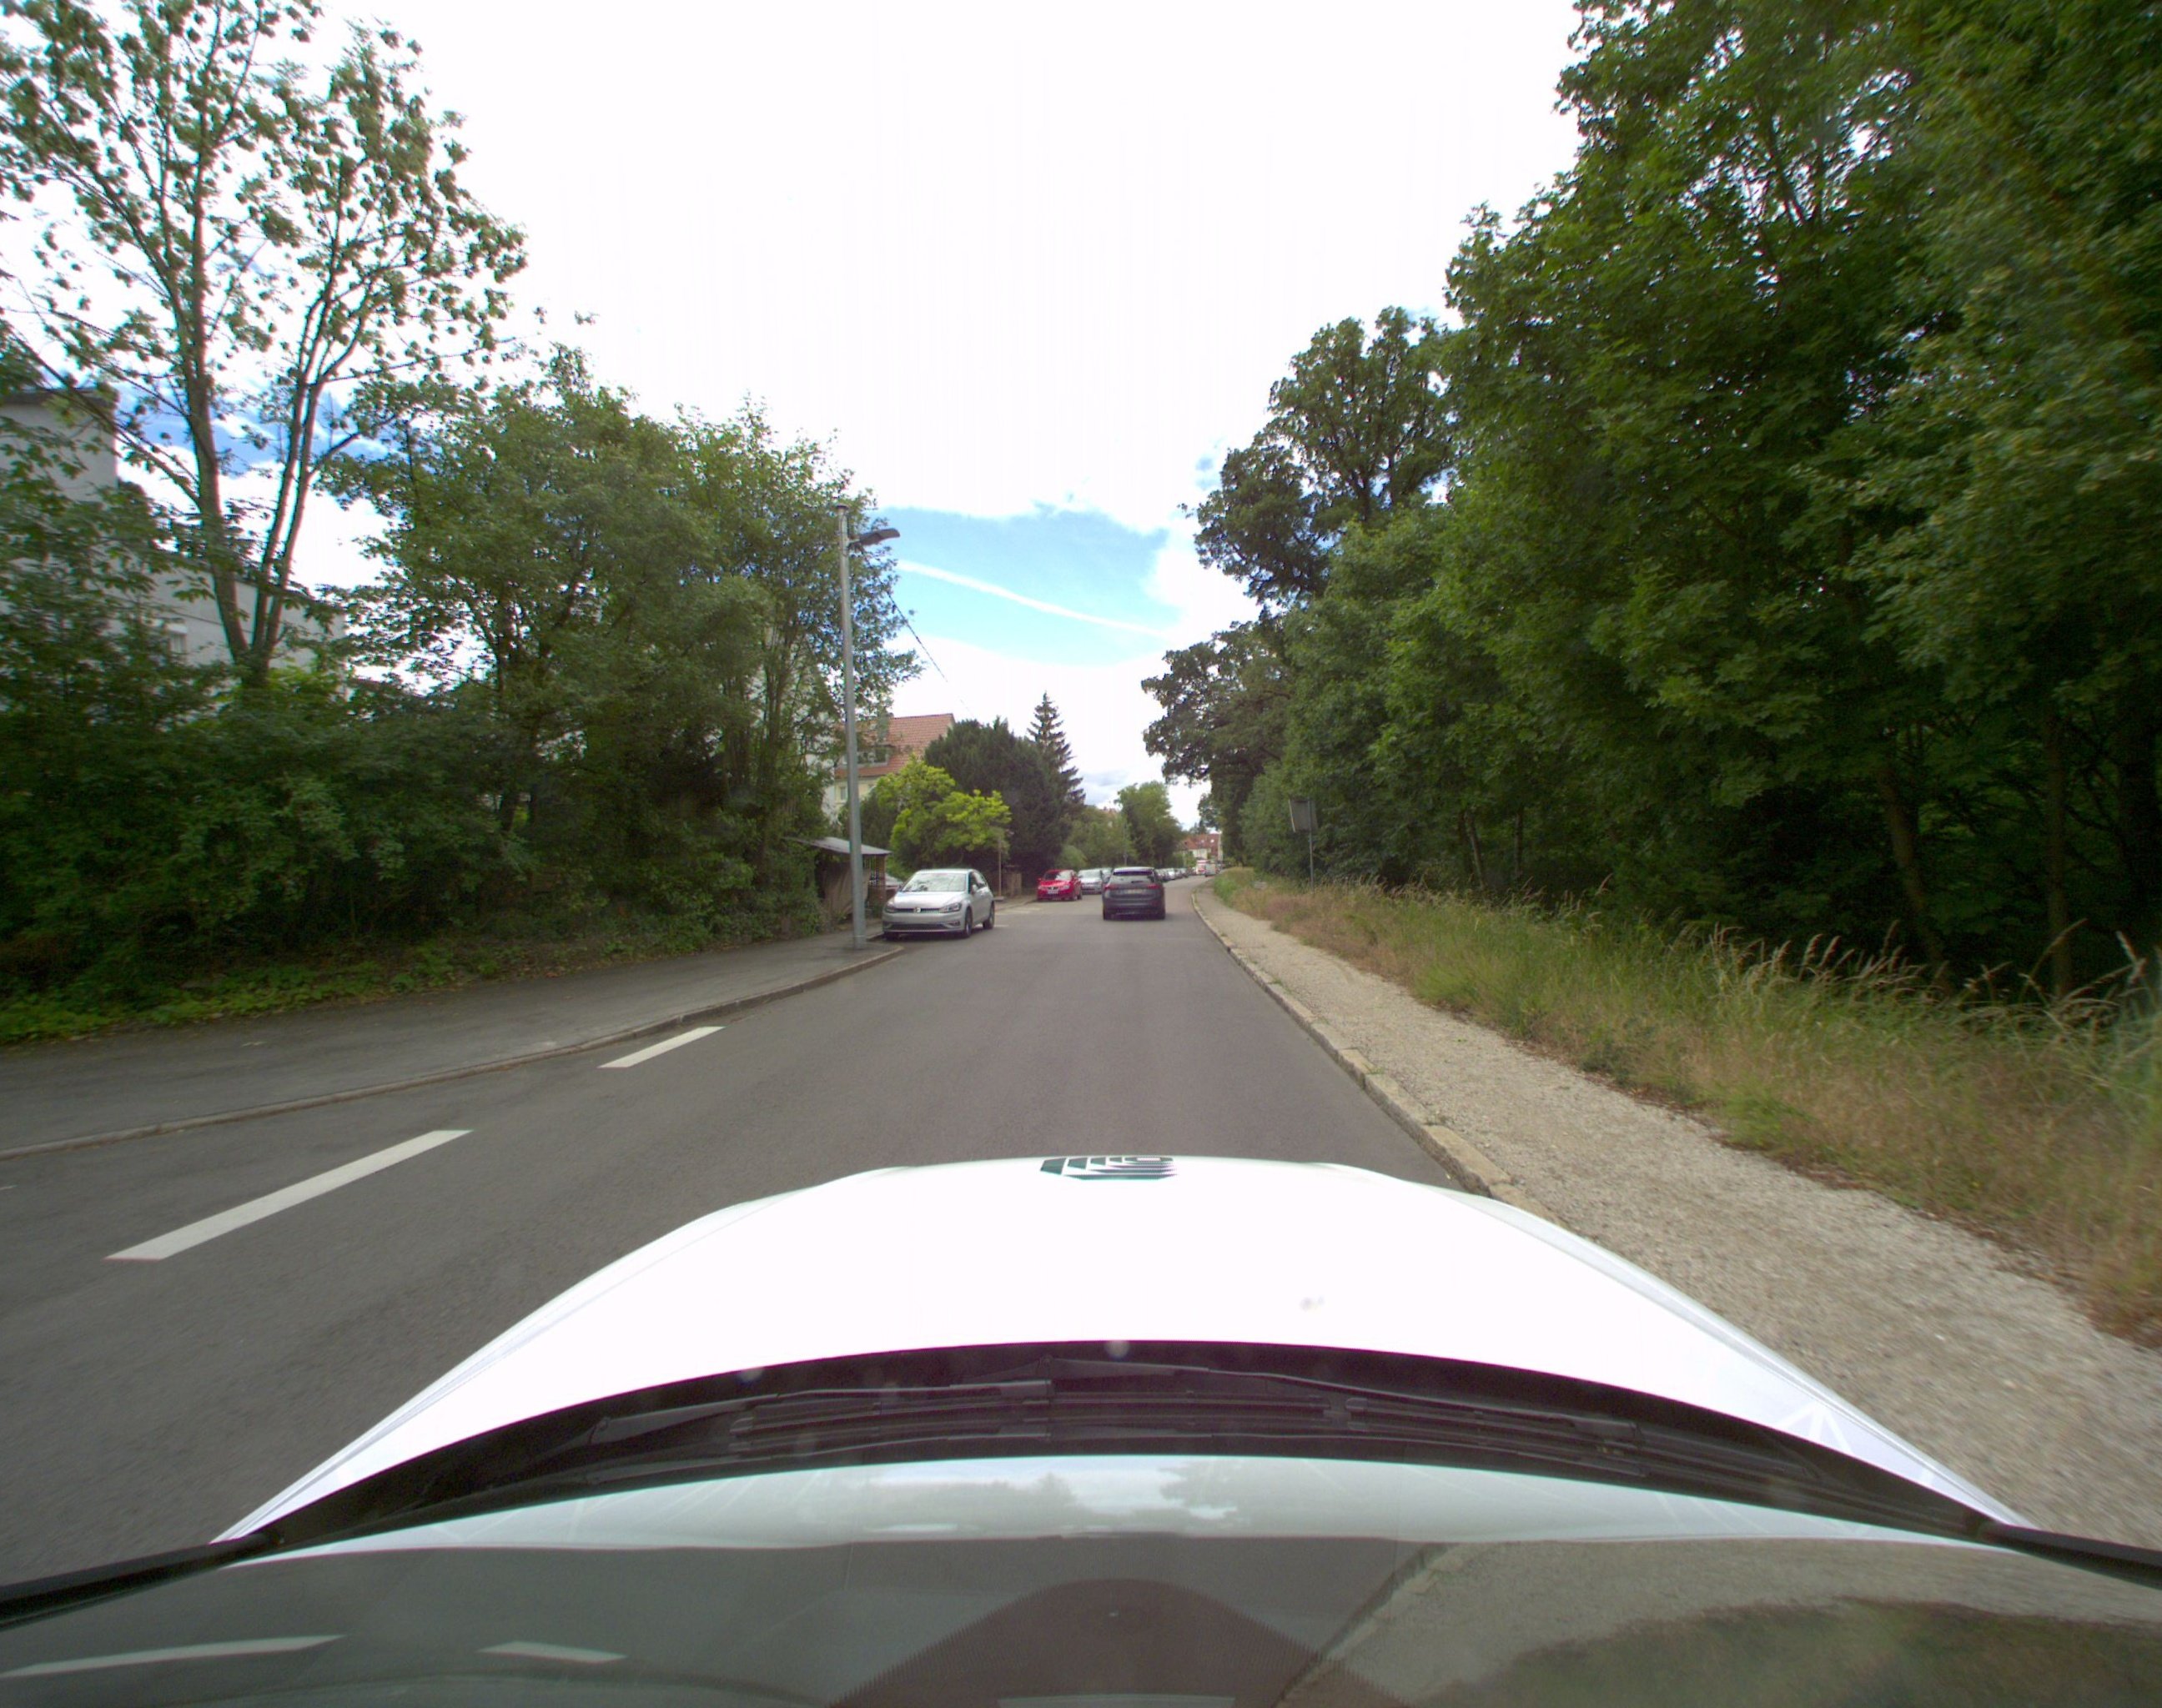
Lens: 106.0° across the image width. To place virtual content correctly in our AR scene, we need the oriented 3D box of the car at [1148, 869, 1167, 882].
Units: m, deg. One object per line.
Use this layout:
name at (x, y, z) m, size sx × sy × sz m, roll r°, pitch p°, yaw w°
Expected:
car at (8.710, 2.449, 92.203) m, size 1.738 × 1.405 × 4.011 m, roll -1°, pitch -1°, yaw 10°

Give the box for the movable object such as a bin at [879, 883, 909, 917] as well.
movable object such as a bin at (-5.204, 1.268, 22.712) m, size 0.587 × 0.909 × 0.702 m, roll -1°, pitch -1°, yaw 11°

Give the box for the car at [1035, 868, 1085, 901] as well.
car at (-0.921, 1.379, 37.713) m, size 1.626 × 1.405 × 4.009 m, roll -1°, pitch -1°, yaw 8°

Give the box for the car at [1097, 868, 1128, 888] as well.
car at (2.349, 1.747, 59.692) m, size 1.738 × 1.405 × 4.011 m, roll -1°, pitch -1°, yaw 10°

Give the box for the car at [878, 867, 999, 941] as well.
car at (-3.051, 1.035, 18.255) m, size 1.698 × 1.468 × 4.080 m, roll 0°, pitch -1°, yaw 4°

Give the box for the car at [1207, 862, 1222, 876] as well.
car at (20.998, 2.300, 127.808) m, size 2.192 × 2.064 × 6.151 m, roll -1°, pitch -1°, yaw 10°

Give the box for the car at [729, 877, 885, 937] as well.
car at (-8.209, 1.568, 24.562) m, size 4.031 × 1.387 × 1.651 m, roll -5°, pitch 0°, yaw 5°

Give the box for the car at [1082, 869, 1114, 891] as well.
car at (1.149, 1.663, 53.004) m, size 1.740 × 1.405 × 4.006 m, roll 0°, pitch -1°, yaw 5°

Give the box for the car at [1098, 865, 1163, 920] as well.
car at (1.521, 1.065, 23.761) m, size 1.726 × 1.447 × 4.186 m, roll 0°, pitch -1°, yaw 5°

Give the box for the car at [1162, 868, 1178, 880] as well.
car at (11.456, 2.578, 104.782) m, size 1.738 × 1.405 × 4.011 m, roll -1°, pitch -1°, yaw 10°

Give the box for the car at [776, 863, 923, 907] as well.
car at (-7.886, 1.041, 27.939) m, size 4.456 × 1.441 × 1.882 m, roll -1°, pitch -1°, yaw 7°

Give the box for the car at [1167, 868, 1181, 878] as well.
car at (13.147, 2.643, 114.981) m, size 1.738 × 1.405 × 4.011 m, roll -1°, pitch -1°, yaw 10°

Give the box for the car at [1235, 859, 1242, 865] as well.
car at (43.387, 2.209, 224.519) m, size 1.725 × 1.447 × 4.009 m, roll -1°, pitch -1°, yaw 8°

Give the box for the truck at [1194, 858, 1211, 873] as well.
truck at (23.128, 2.127, 154.494) m, size 2.746 × 2.794 × 9.294 m, roll -1°, pitch -1°, yaw 10°

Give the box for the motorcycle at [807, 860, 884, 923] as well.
motorcycle at (-5.901, 0.906, 20.665) m, size 0.805 × 1.485 × 2.901 m, roll -1°, pitch -1°, yaw 7°

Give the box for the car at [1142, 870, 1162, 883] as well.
car at (7.504, 2.346, 85.509) m, size 1.738 × 1.405 × 4.011 m, roll -1°, pitch -1°, yaw 10°

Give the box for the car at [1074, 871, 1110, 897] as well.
car at (0.674, 1.691, 47.112) m, size 1.740 × 1.405 × 4.006 m, roll 0°, pitch -1°, yaw 5°
